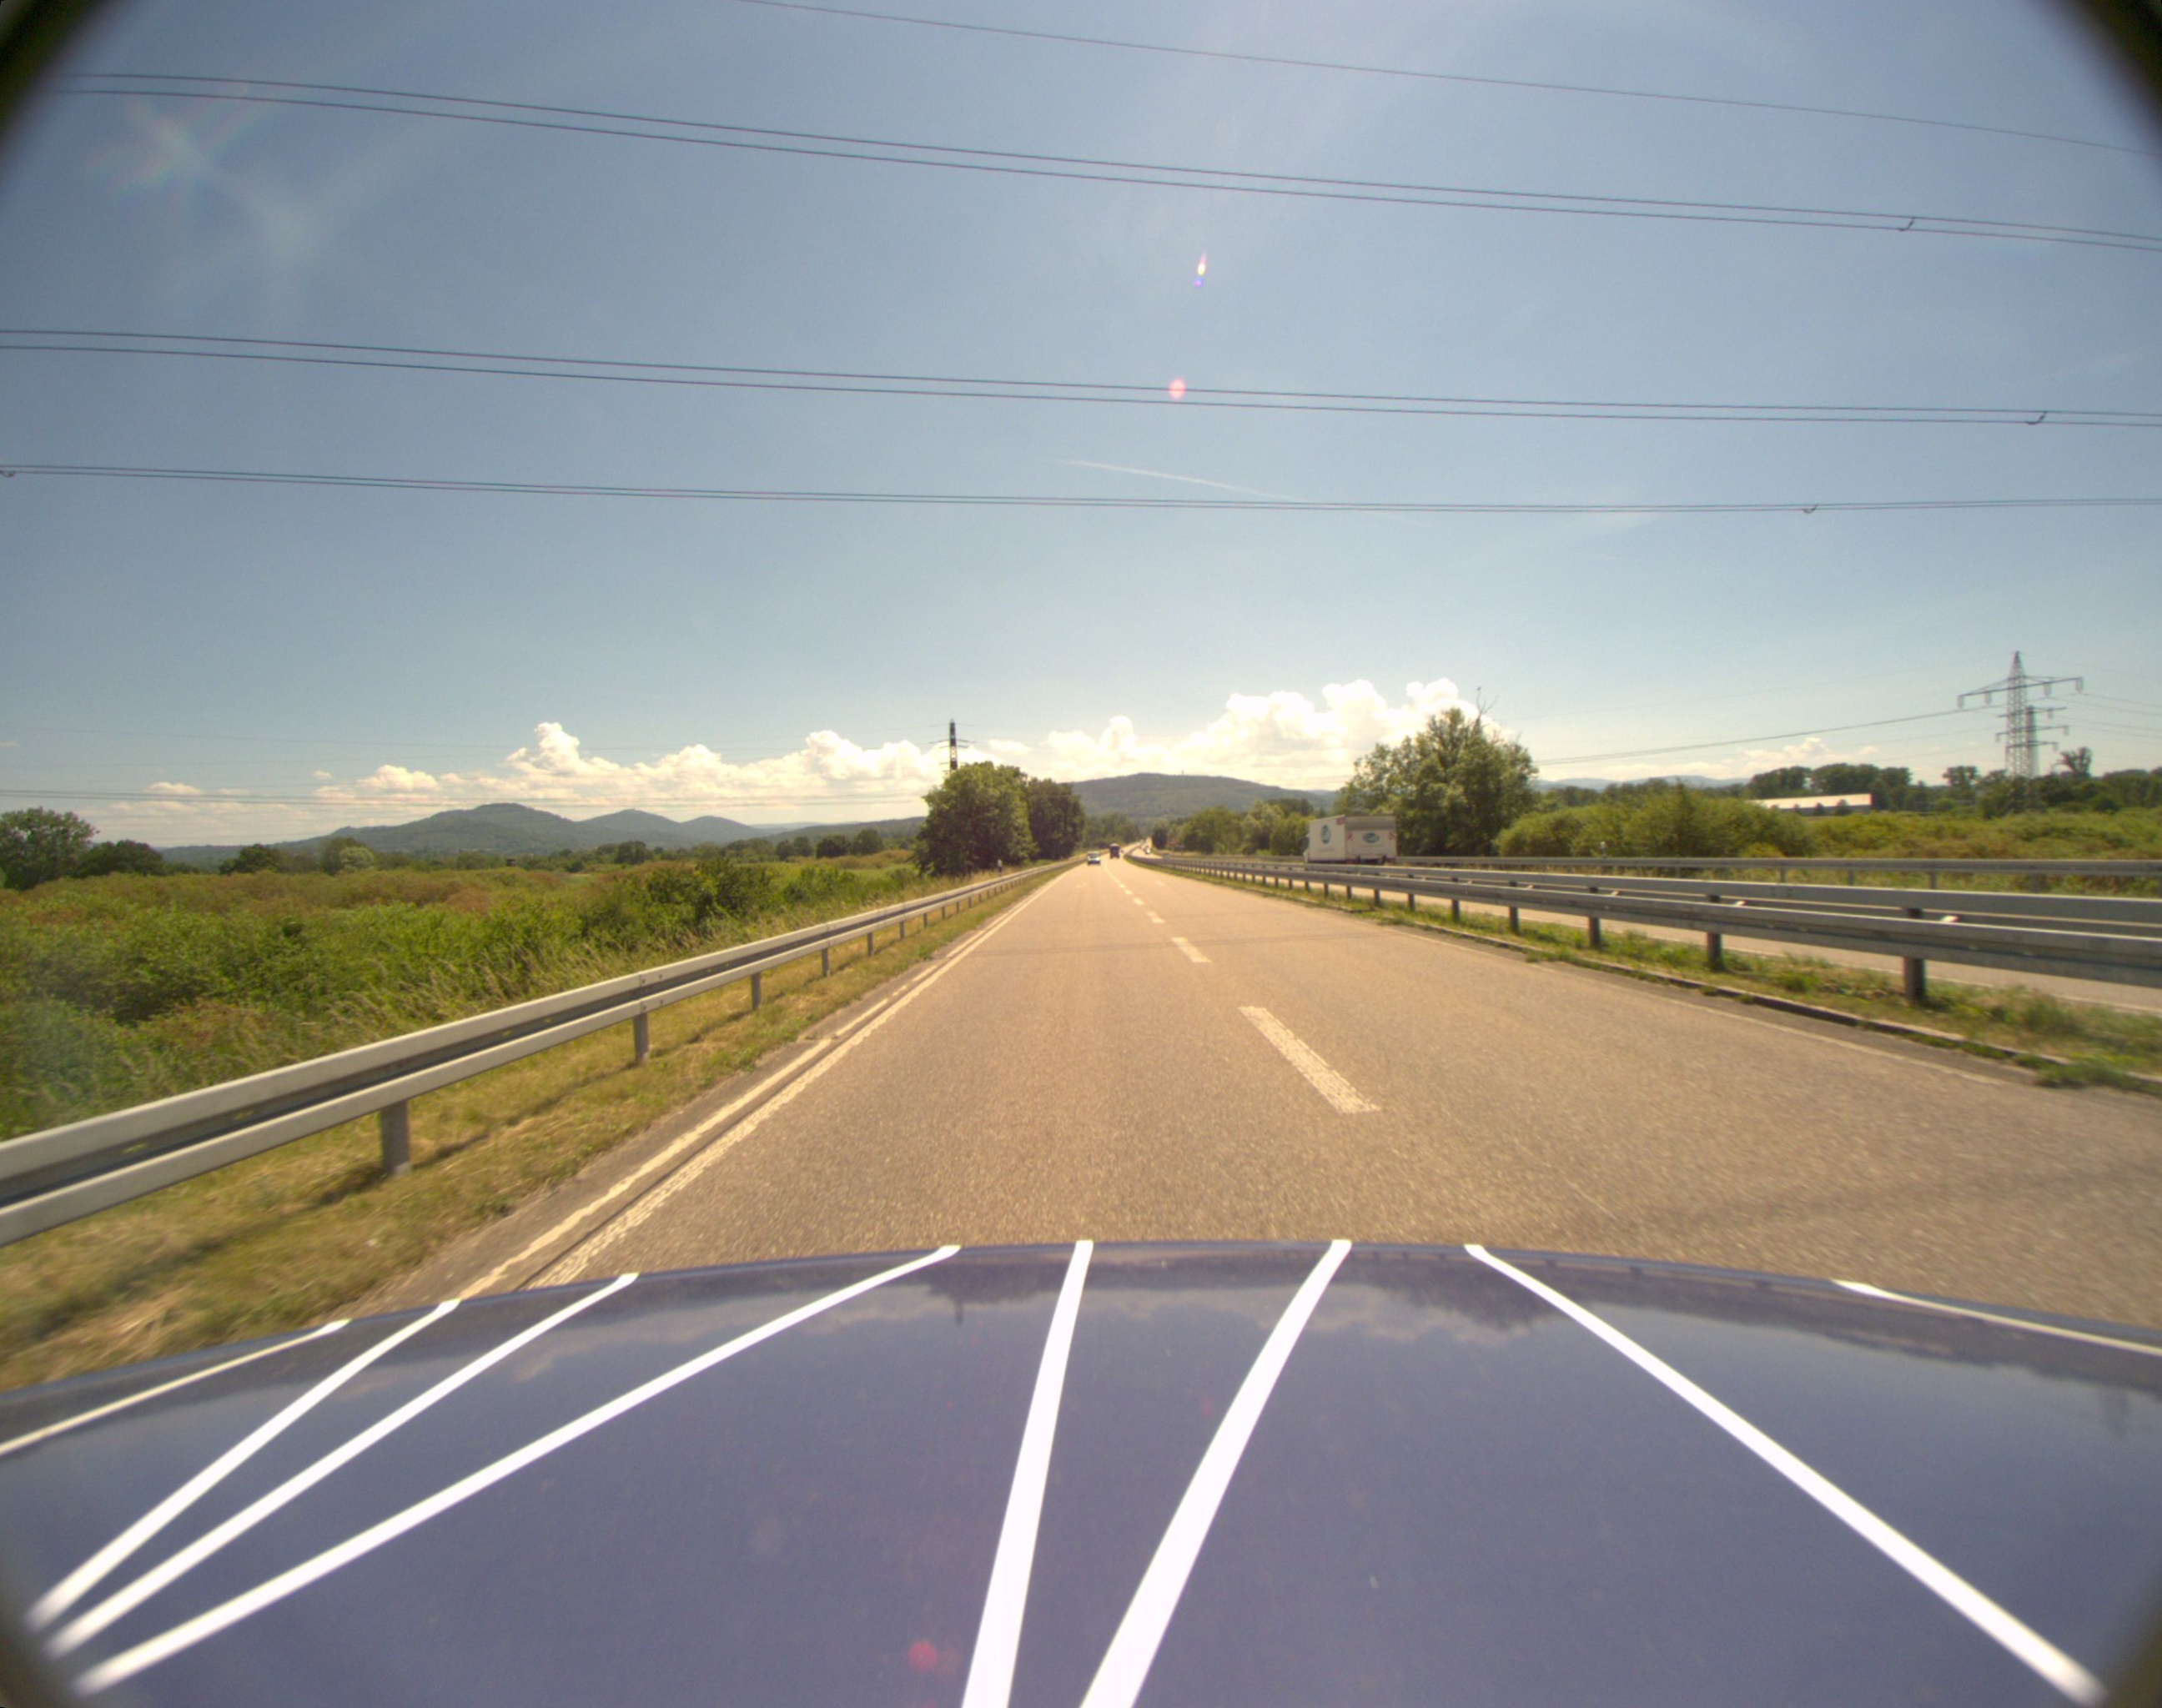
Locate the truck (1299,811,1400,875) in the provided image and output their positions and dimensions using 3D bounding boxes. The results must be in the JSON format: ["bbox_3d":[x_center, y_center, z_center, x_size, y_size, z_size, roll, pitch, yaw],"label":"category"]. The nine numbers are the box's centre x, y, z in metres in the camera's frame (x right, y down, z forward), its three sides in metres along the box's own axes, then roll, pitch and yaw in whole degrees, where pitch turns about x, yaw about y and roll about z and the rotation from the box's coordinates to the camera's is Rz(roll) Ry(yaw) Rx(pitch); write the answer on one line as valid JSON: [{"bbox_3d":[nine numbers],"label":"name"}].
[{"bbox_3d":[14.633,-0.579,42.213,2.725,3.174,8.405,-1,0,1],"label":"truck"}]

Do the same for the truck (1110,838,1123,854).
[{"bbox_3d":[9.357,-2.096,200.191,2.826,4.143,9.950,-2,1,5],"label":"truck"}]

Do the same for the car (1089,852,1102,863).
[{"bbox_3d":[2.071,0.443,107.094,1.577,1.387,3.486,-2,1,5],"label":"car"}]

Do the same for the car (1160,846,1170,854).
[{"bbox_3d":[16.710,-0.740,150.893,1.536,1.441,3.701,-2,0,1],"label":"car"}]
